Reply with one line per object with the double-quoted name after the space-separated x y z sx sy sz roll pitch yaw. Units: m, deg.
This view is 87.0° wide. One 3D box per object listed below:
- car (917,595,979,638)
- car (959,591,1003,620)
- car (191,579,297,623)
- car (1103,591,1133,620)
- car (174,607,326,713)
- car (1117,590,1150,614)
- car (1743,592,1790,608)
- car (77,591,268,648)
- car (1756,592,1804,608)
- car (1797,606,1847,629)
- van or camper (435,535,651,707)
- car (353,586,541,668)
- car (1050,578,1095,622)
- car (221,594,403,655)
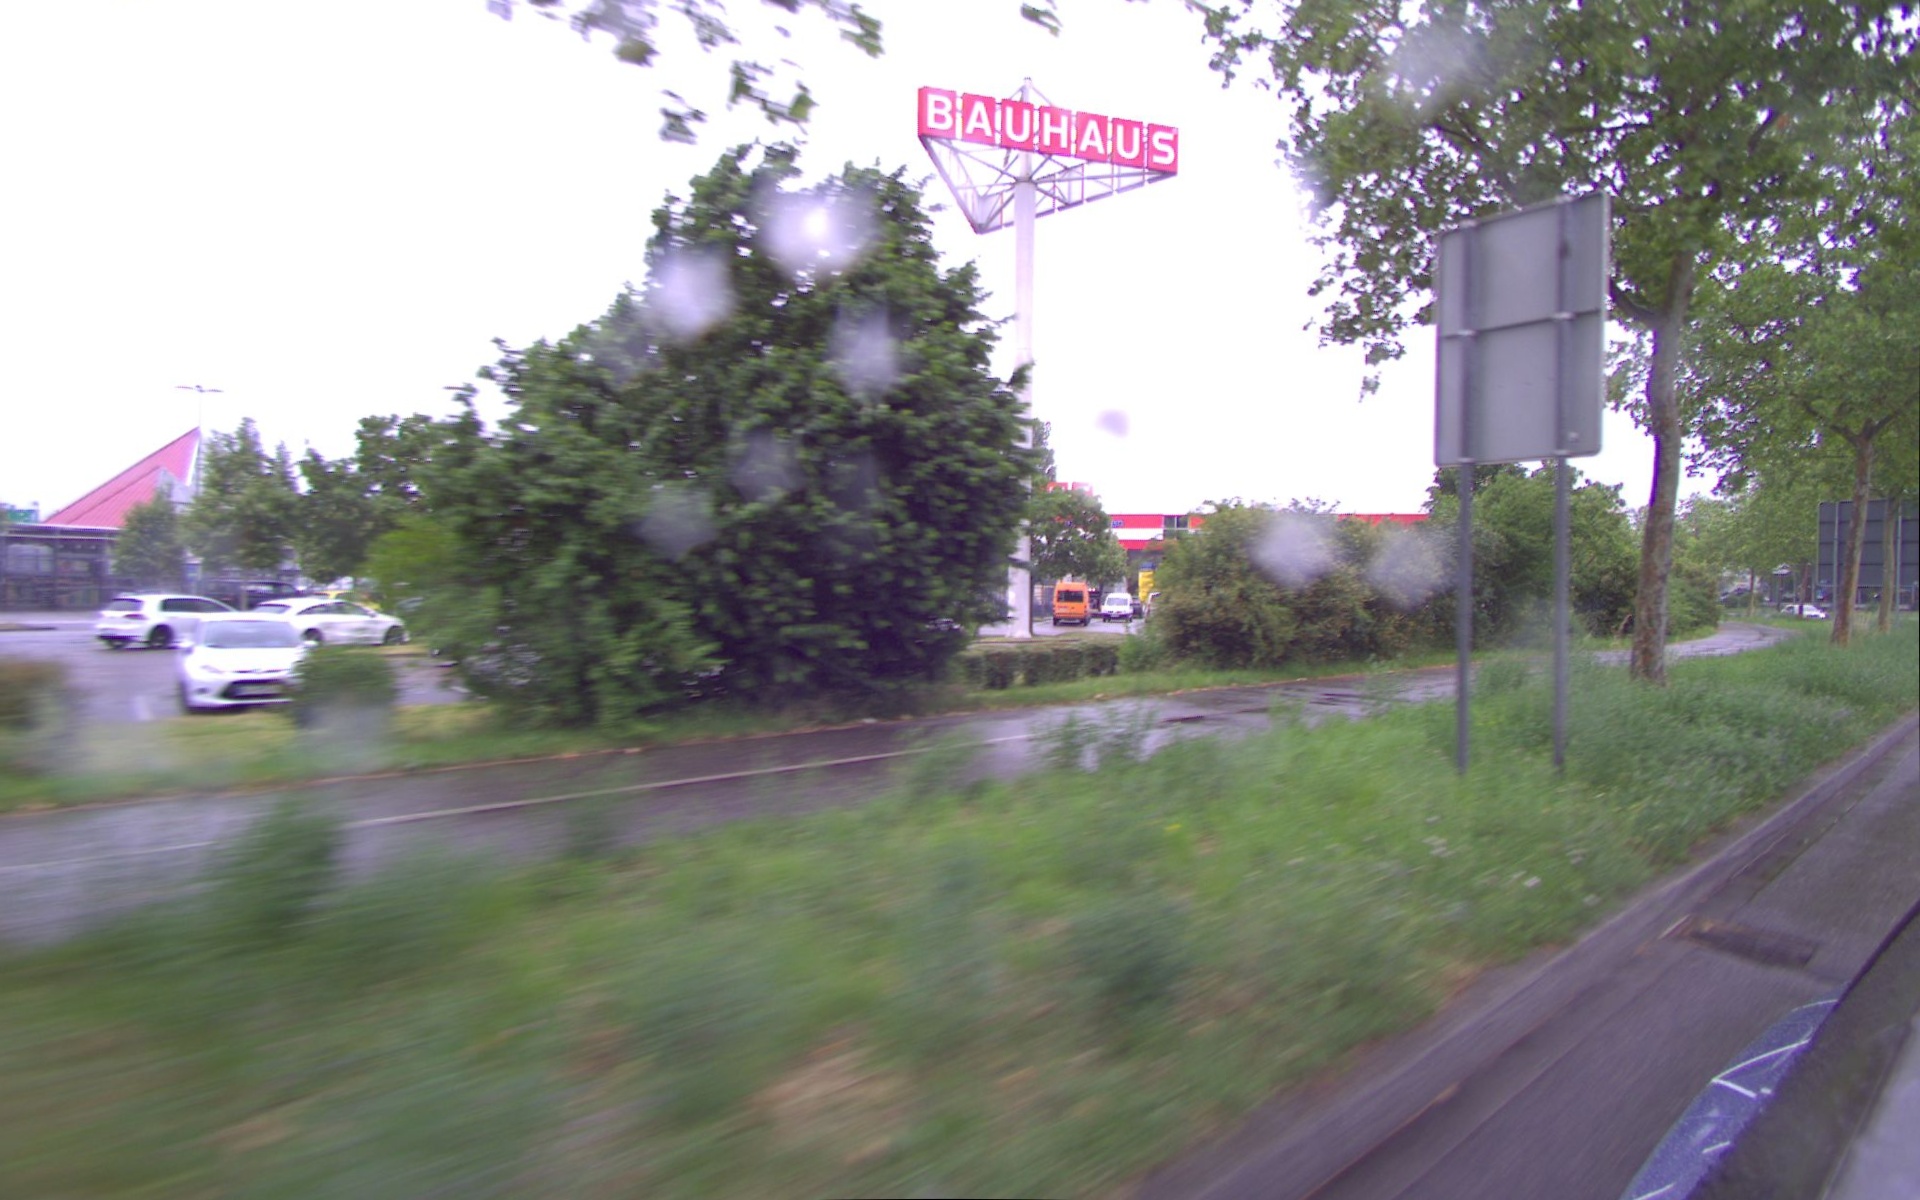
-0.415 0.642 41.770 1.907 1.655 4.328 0 0 9 "car"
1.273 0.329 59.275 1.908 1.655 4.324 0 0 11 "car"
-34.760 0.026 49.271 1.871 2.039 3.982 0 0 15 "car"
9.707 0.316 62.356 1.725 1.766 3.611 0 0 8 "car"
-11.646 0.867 16.603 1.842 1.475 3.998 0 0 -36 "car"
12.640 0.129 73.487 1.733 1.654 3.821 0 0 20 "car"
93.766 0.004 117.743 3.923 1.681 1.865 -1 0 -1 "car"
-22.086 0.502 28.600 1.759 1.498 4.056 0 0 15 "car"
93.743 0.017 115.774 3.923 1.681 1.865 -1 0 -1 "car"
66.116 1.285 77.679 1.981 1.672 3.962 0 0 27 "car"
-7.699 0.373 18.296 1.963 2.621 5.736 4 -3 -39 "van or camper"
-11.921 0.573 23.610 3.778 1.724 1.618 -1 0 -30 "car"
6.468 -0.007 57.758 2.243 2.396 5.663 0 0 10 "car"
-17.405 0.604 27.424 1.759 1.498 4.056 0 0 15 "car"
